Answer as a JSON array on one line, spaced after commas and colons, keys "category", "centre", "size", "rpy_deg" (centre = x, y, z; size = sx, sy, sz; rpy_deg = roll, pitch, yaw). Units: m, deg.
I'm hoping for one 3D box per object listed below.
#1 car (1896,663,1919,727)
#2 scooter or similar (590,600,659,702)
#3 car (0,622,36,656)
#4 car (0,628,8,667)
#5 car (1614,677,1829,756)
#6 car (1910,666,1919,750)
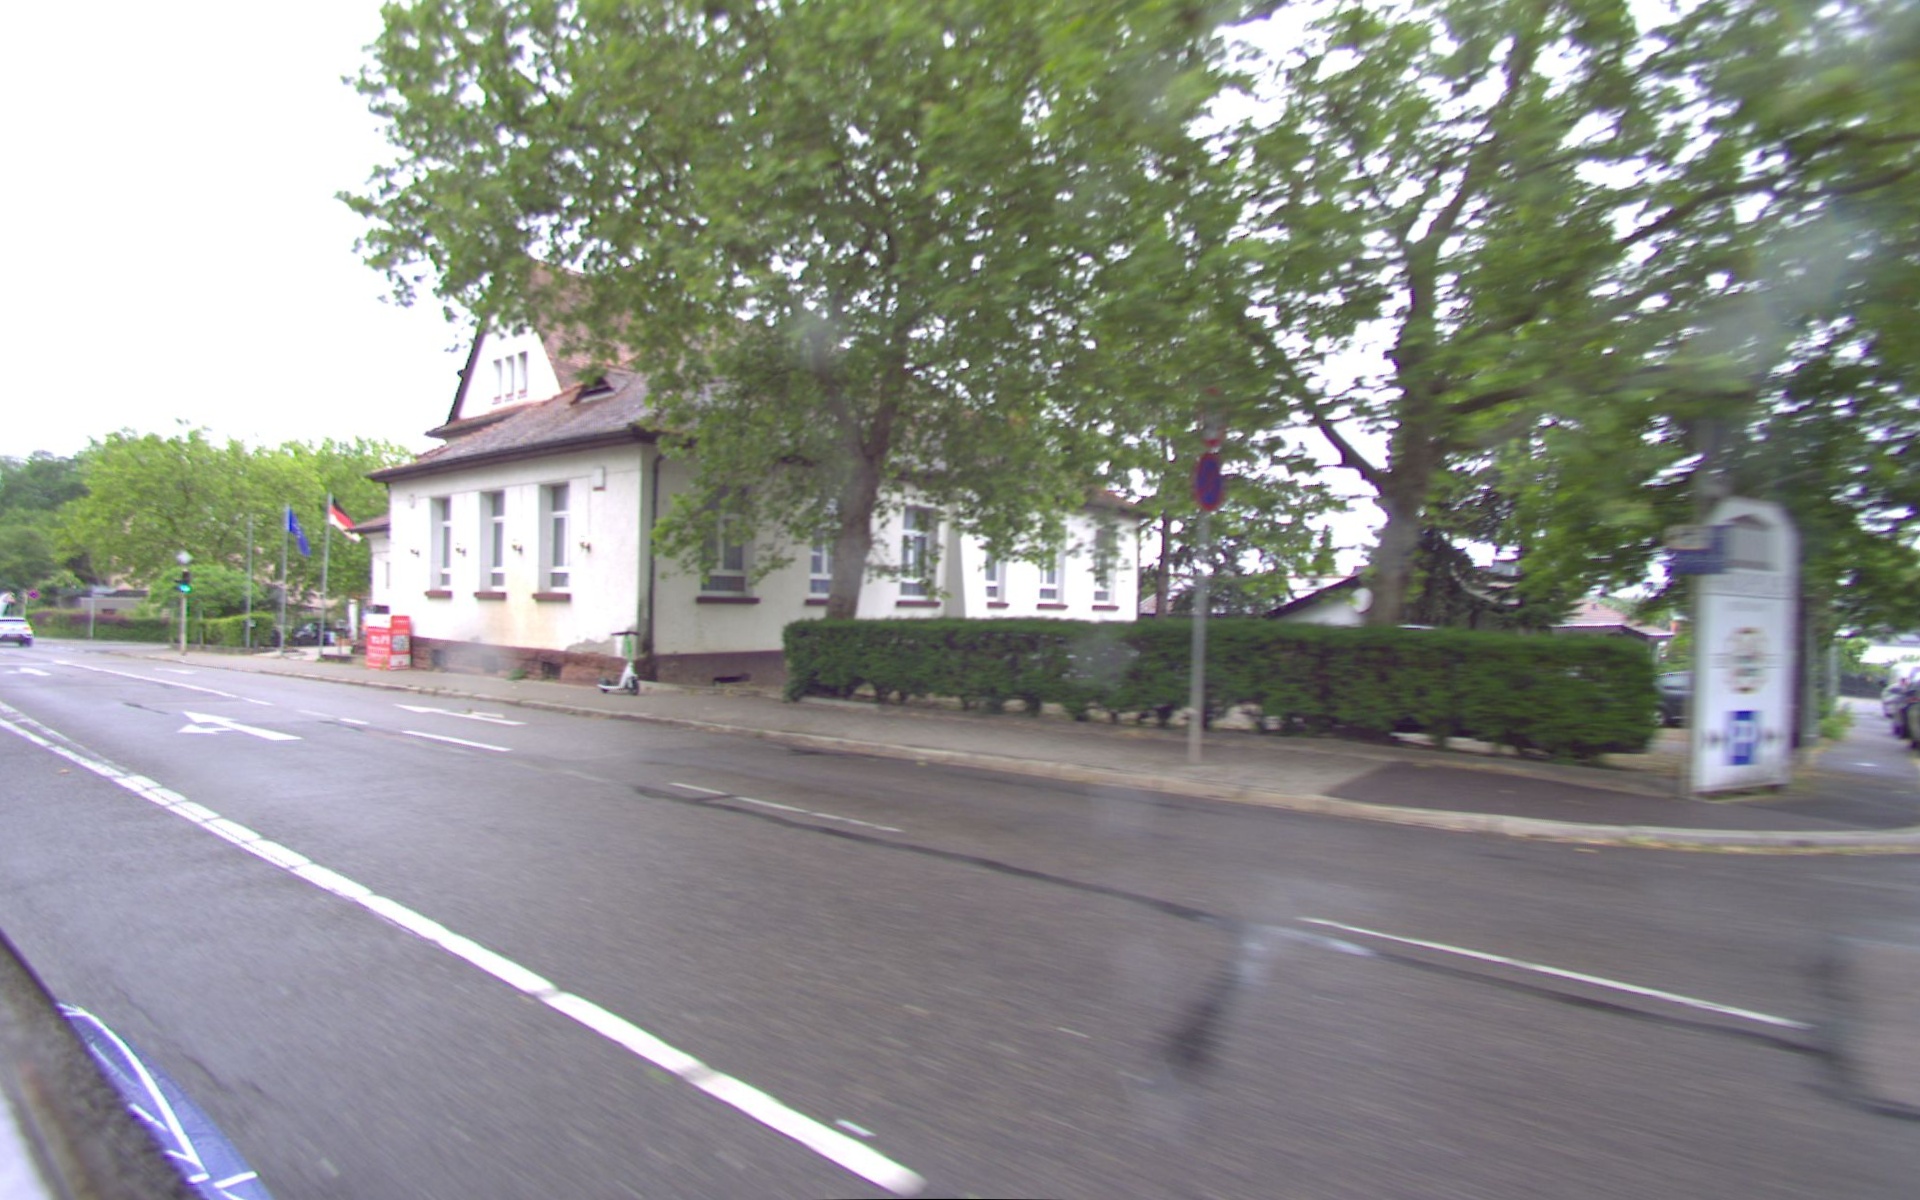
[{"category": "car", "centre": [30.821, 2.994, 31.889], "size": [1.737, 1.943, 3.946], "rpy_deg": [-1, -4, 40]}, {"category": "scooter or similar", "centre": [-6.098, 0.897, 18.377], "size": [1.510, 1.788, 0.397], "rpy_deg": [0, 0, 37]}, {"category": "car", "centre": [-51.345, 2.091, 54.610], "size": [1.970, 1.696, 4.003], "rpy_deg": [3, -2, -44]}, {"category": "car", "centre": [-37.158, 1.764, 38.013], "size": [1.970, 1.440, 4.392], "rpy_deg": [4, -4, -43]}, {"category": "car", "centre": [18.296, 2.741, 24.442], "size": [3.996, 1.597, 1.973], "rpy_deg": [-1, -4, 39]}, {"category": "car", "centre": [16.691, 1.812, 16.208], "size": [1.735, 1.453, 3.949], "rpy_deg": [-1, -3, 38]}]
